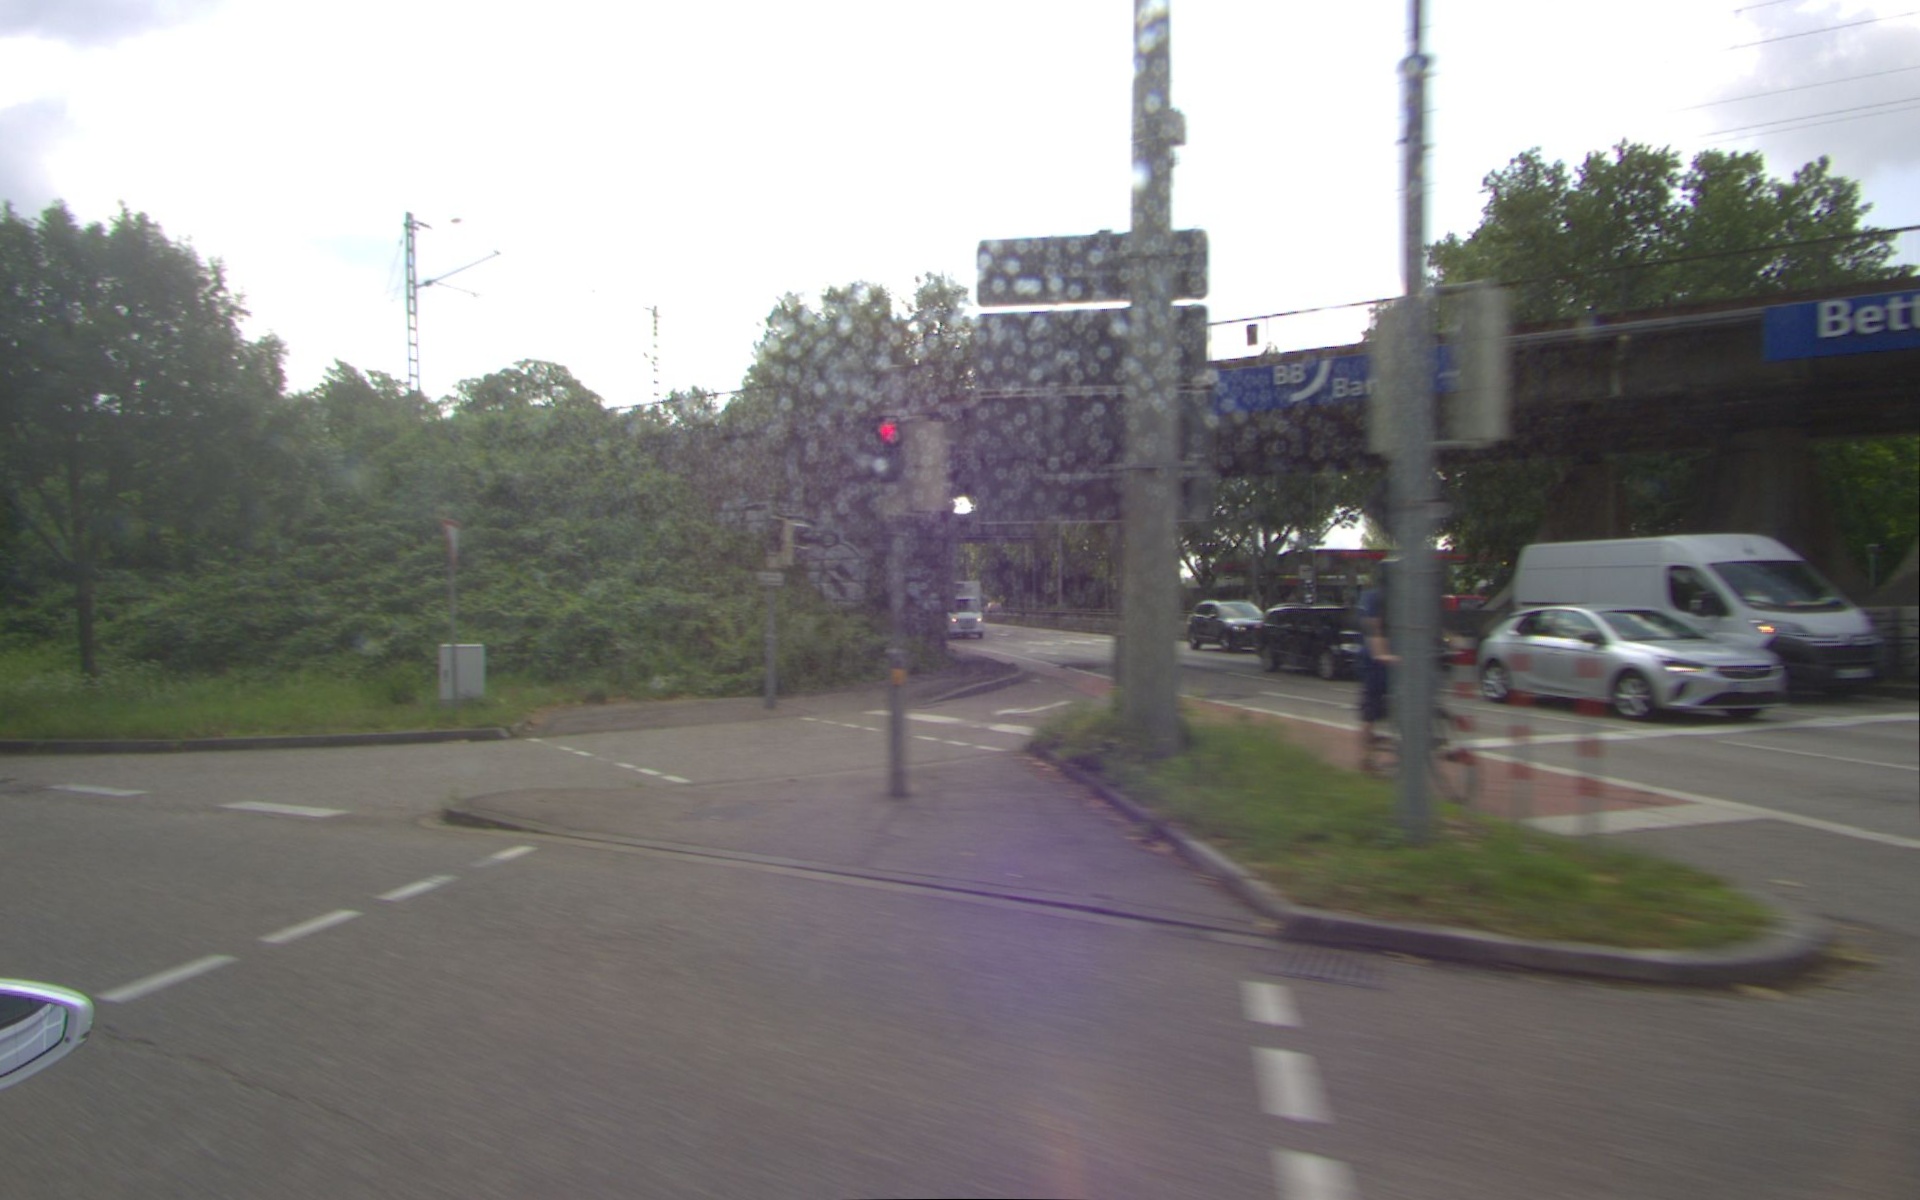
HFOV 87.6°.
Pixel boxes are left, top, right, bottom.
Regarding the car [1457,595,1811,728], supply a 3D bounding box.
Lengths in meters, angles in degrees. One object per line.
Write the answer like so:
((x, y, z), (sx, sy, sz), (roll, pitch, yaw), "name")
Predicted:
((8.789, 0.744, 13.547), (1.676, 1.496, 3.998), (-1, -1, -9), "car")

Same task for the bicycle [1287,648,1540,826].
((3.411, 0.974, 7.862), (0.829, 1.107, 2.319), (-4, -2, -1), "bicycle")

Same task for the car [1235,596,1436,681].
((7.813, 0.736, 21.377), (1.738, 1.604, 4.658), (1, 0, -12), "car")

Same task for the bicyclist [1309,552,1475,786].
((3.386, 0.529, 7.928), (0.829, 1.699, 0.824), (-4, -1, -1), "bicyclist")

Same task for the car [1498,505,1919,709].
((11.671, 0.210, 16.182), (2.222, 2.557, 5.628), (-5, -2, -7), "car")

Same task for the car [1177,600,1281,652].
((8.745, 0.801, 32.948), (1.819, 1.596, 4.314), (0, 0, -7), "car")

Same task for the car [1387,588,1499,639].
((20.302, 0.543, 42.355), (1.925, 2.043, 4.673), (0, 0, -10), "car")

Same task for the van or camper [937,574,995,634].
((0.243, 0.240, 55.132), (2.614, 3.121, 5.747), (0, 0, -6), "van or camper")

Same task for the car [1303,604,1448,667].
((10.025, 0.809, 24.468), (1.619, 1.416, 3.737), (0, 0, -7), "car")
